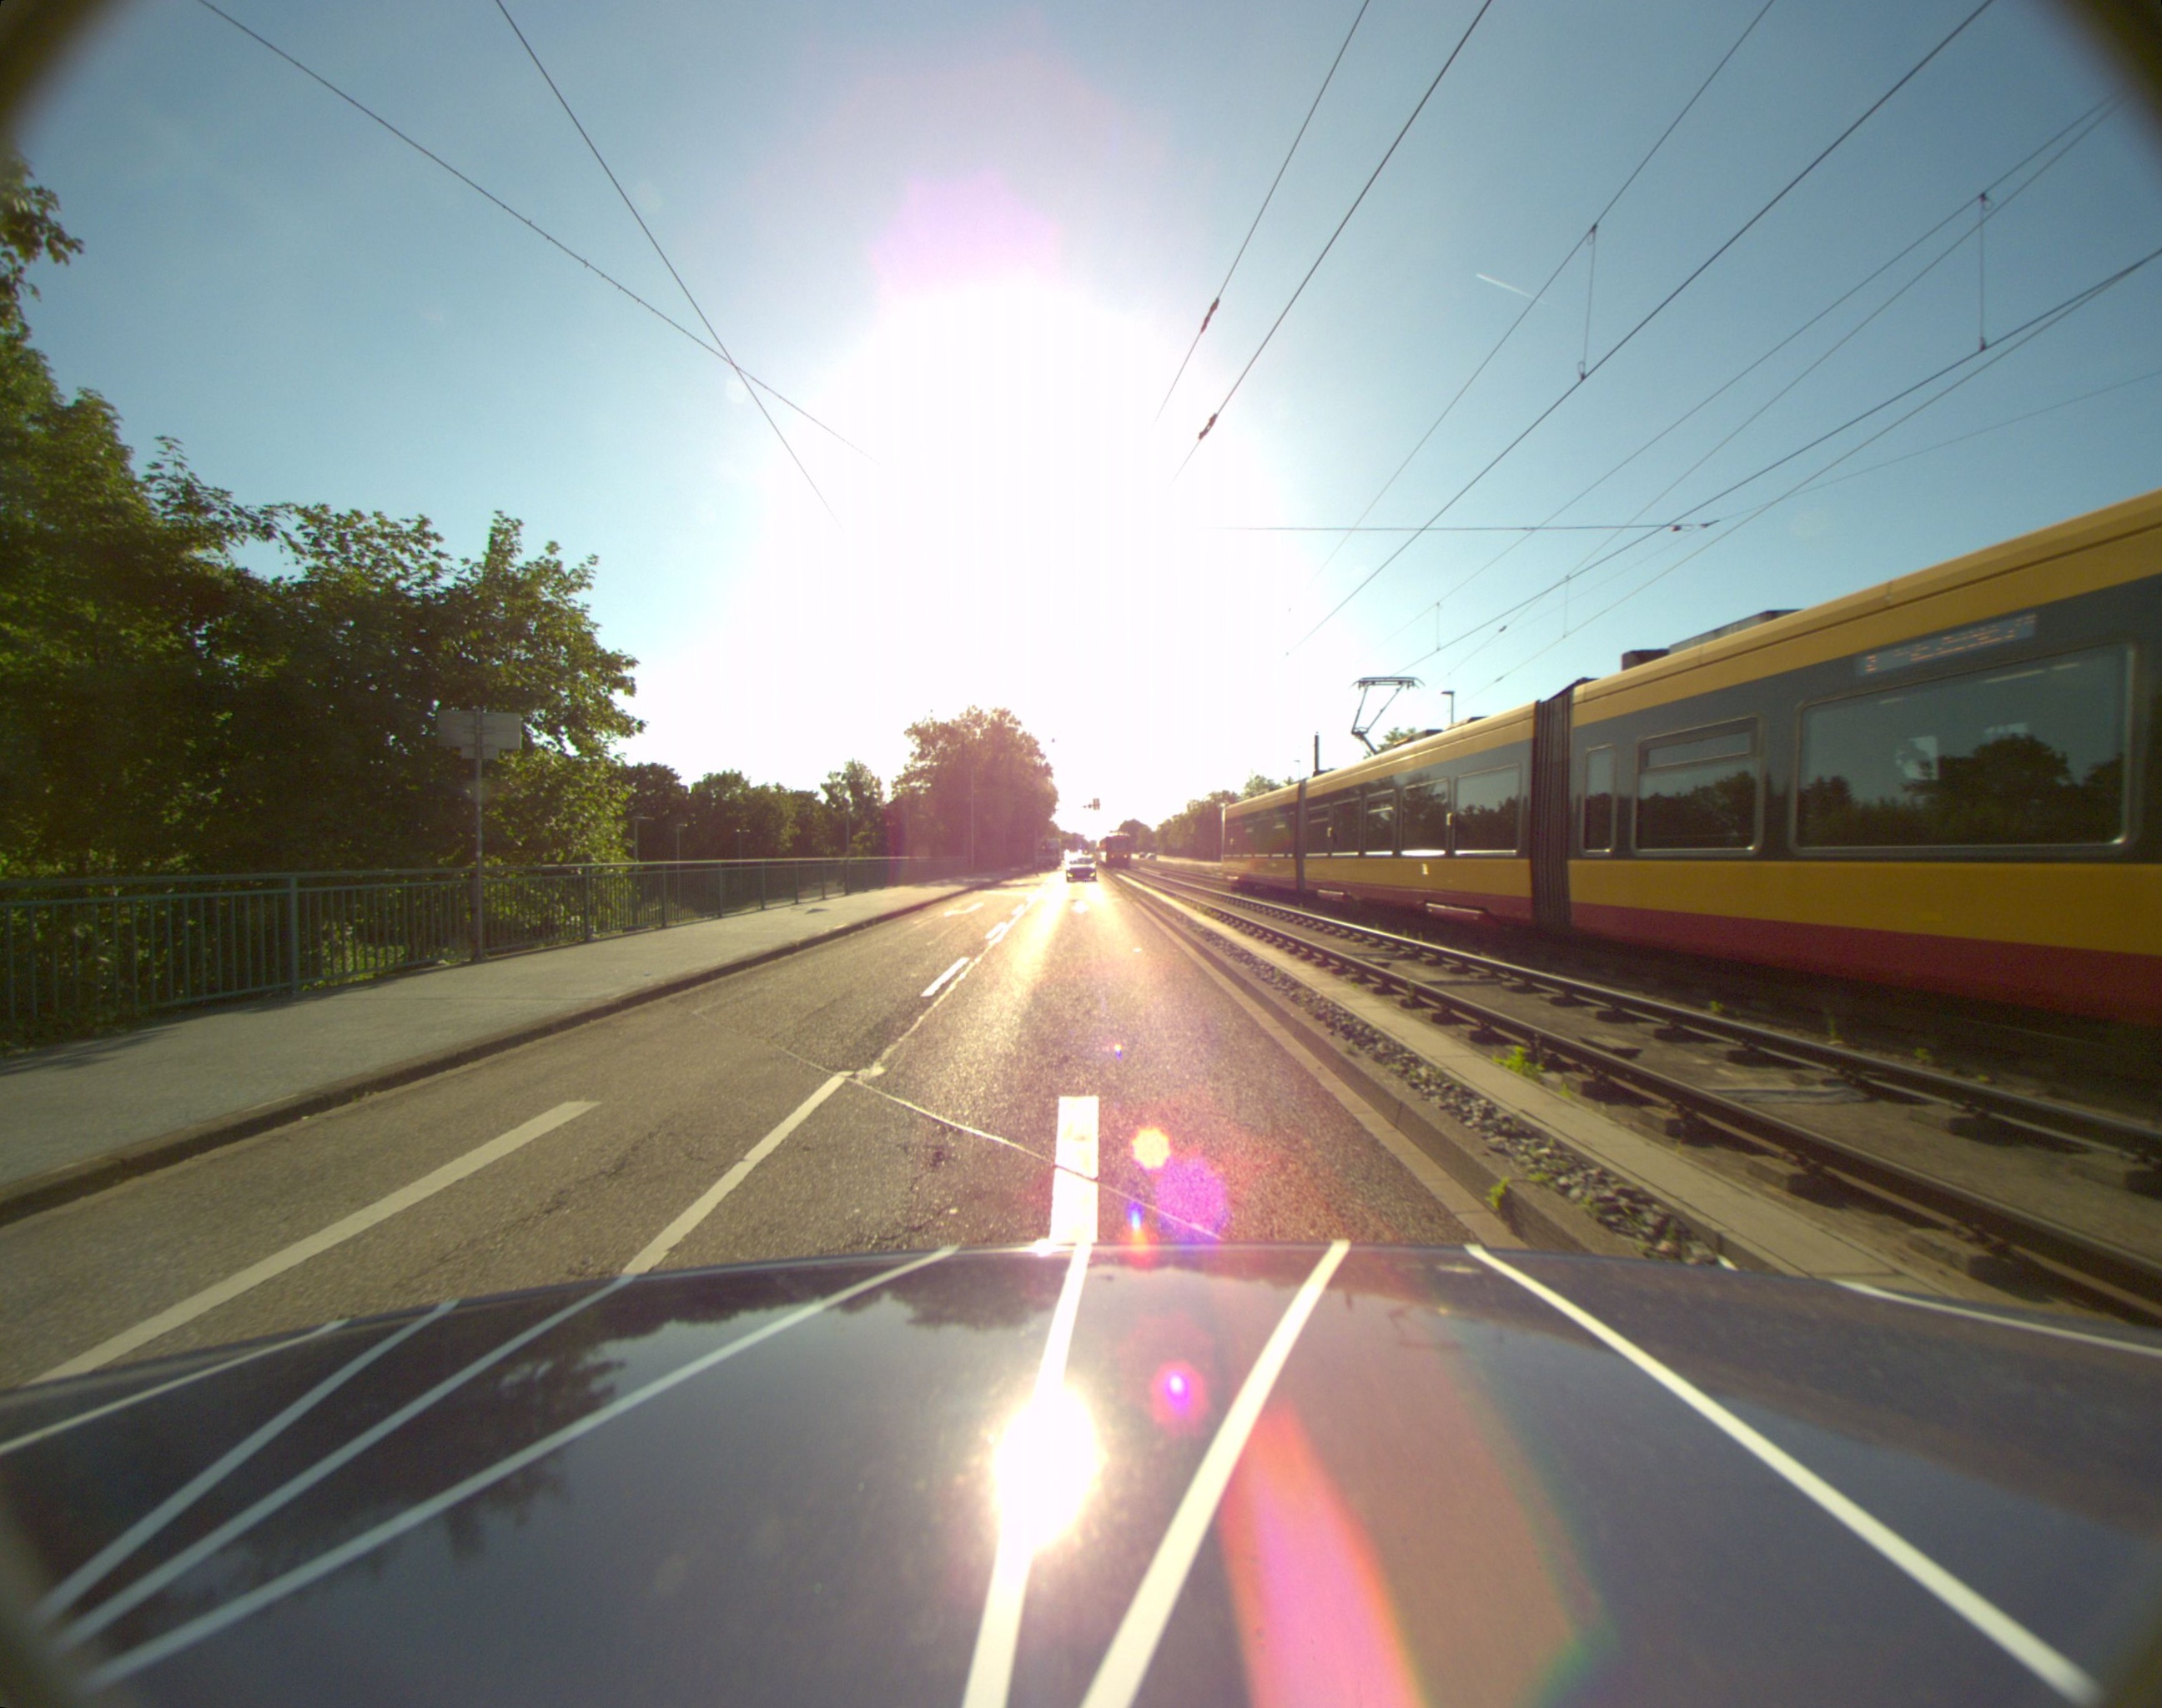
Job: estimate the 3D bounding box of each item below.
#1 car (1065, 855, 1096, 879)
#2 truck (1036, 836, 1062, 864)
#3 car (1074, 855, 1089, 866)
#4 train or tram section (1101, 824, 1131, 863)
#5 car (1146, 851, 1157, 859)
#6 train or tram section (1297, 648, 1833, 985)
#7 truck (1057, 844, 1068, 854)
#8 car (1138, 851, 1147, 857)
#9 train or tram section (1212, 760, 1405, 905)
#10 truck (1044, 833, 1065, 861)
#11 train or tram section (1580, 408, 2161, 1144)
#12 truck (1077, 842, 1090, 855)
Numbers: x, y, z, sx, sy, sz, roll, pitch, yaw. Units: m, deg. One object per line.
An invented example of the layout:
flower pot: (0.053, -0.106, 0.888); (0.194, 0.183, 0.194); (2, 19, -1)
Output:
car: (-0.012, 0.761, 44.928); (1.801, 1.345, 4.000); (0, 0, 0)
truck: (-3.745, -0.469, 90.579); (2.610, 3.186, 7.869); (-1, 0, 0)
car: (0.053, 0.831, 95.197); (1.801, 1.345, 4.000); (0, 0, 1)
train or tram section: (3.699, -1.116, 82.793); (2.569, 3.878, 11.670); (-1, 0, -1)
car: (13.753, 0.138, 148.201); (1.801, 1.345, 3.999); (-2, 1, 0)
train or tram section: (7.275, -0.468, 14.655); (2.984, 3.878, 11.663); (-1, 0, 0)
truck: (-3.819, -0.980, 155.995); (2.097, 1.961, 6.026); (0, 0, 1)
car: (15.802, -0.074, 195.551); (1.801, 1.345, 3.999); (-2, 1, 0)
train or tram section: (7.277, -0.626, 27.039); (3.011, 3.878, 13.079); (-1, 0, 0)
truck: (-3.691, -0.952, 107.189); (2.559, 3.826, 7.869); (-1, 1, 0)
train or tram section: (7.175, -0.411, 2.365); (2.985, 3.878, 12.700); (-1, 0, 0)
truck: (0.647, -1.476, 206.320); (3.314, 3.283, 15.320); (-1, 0, 0)
